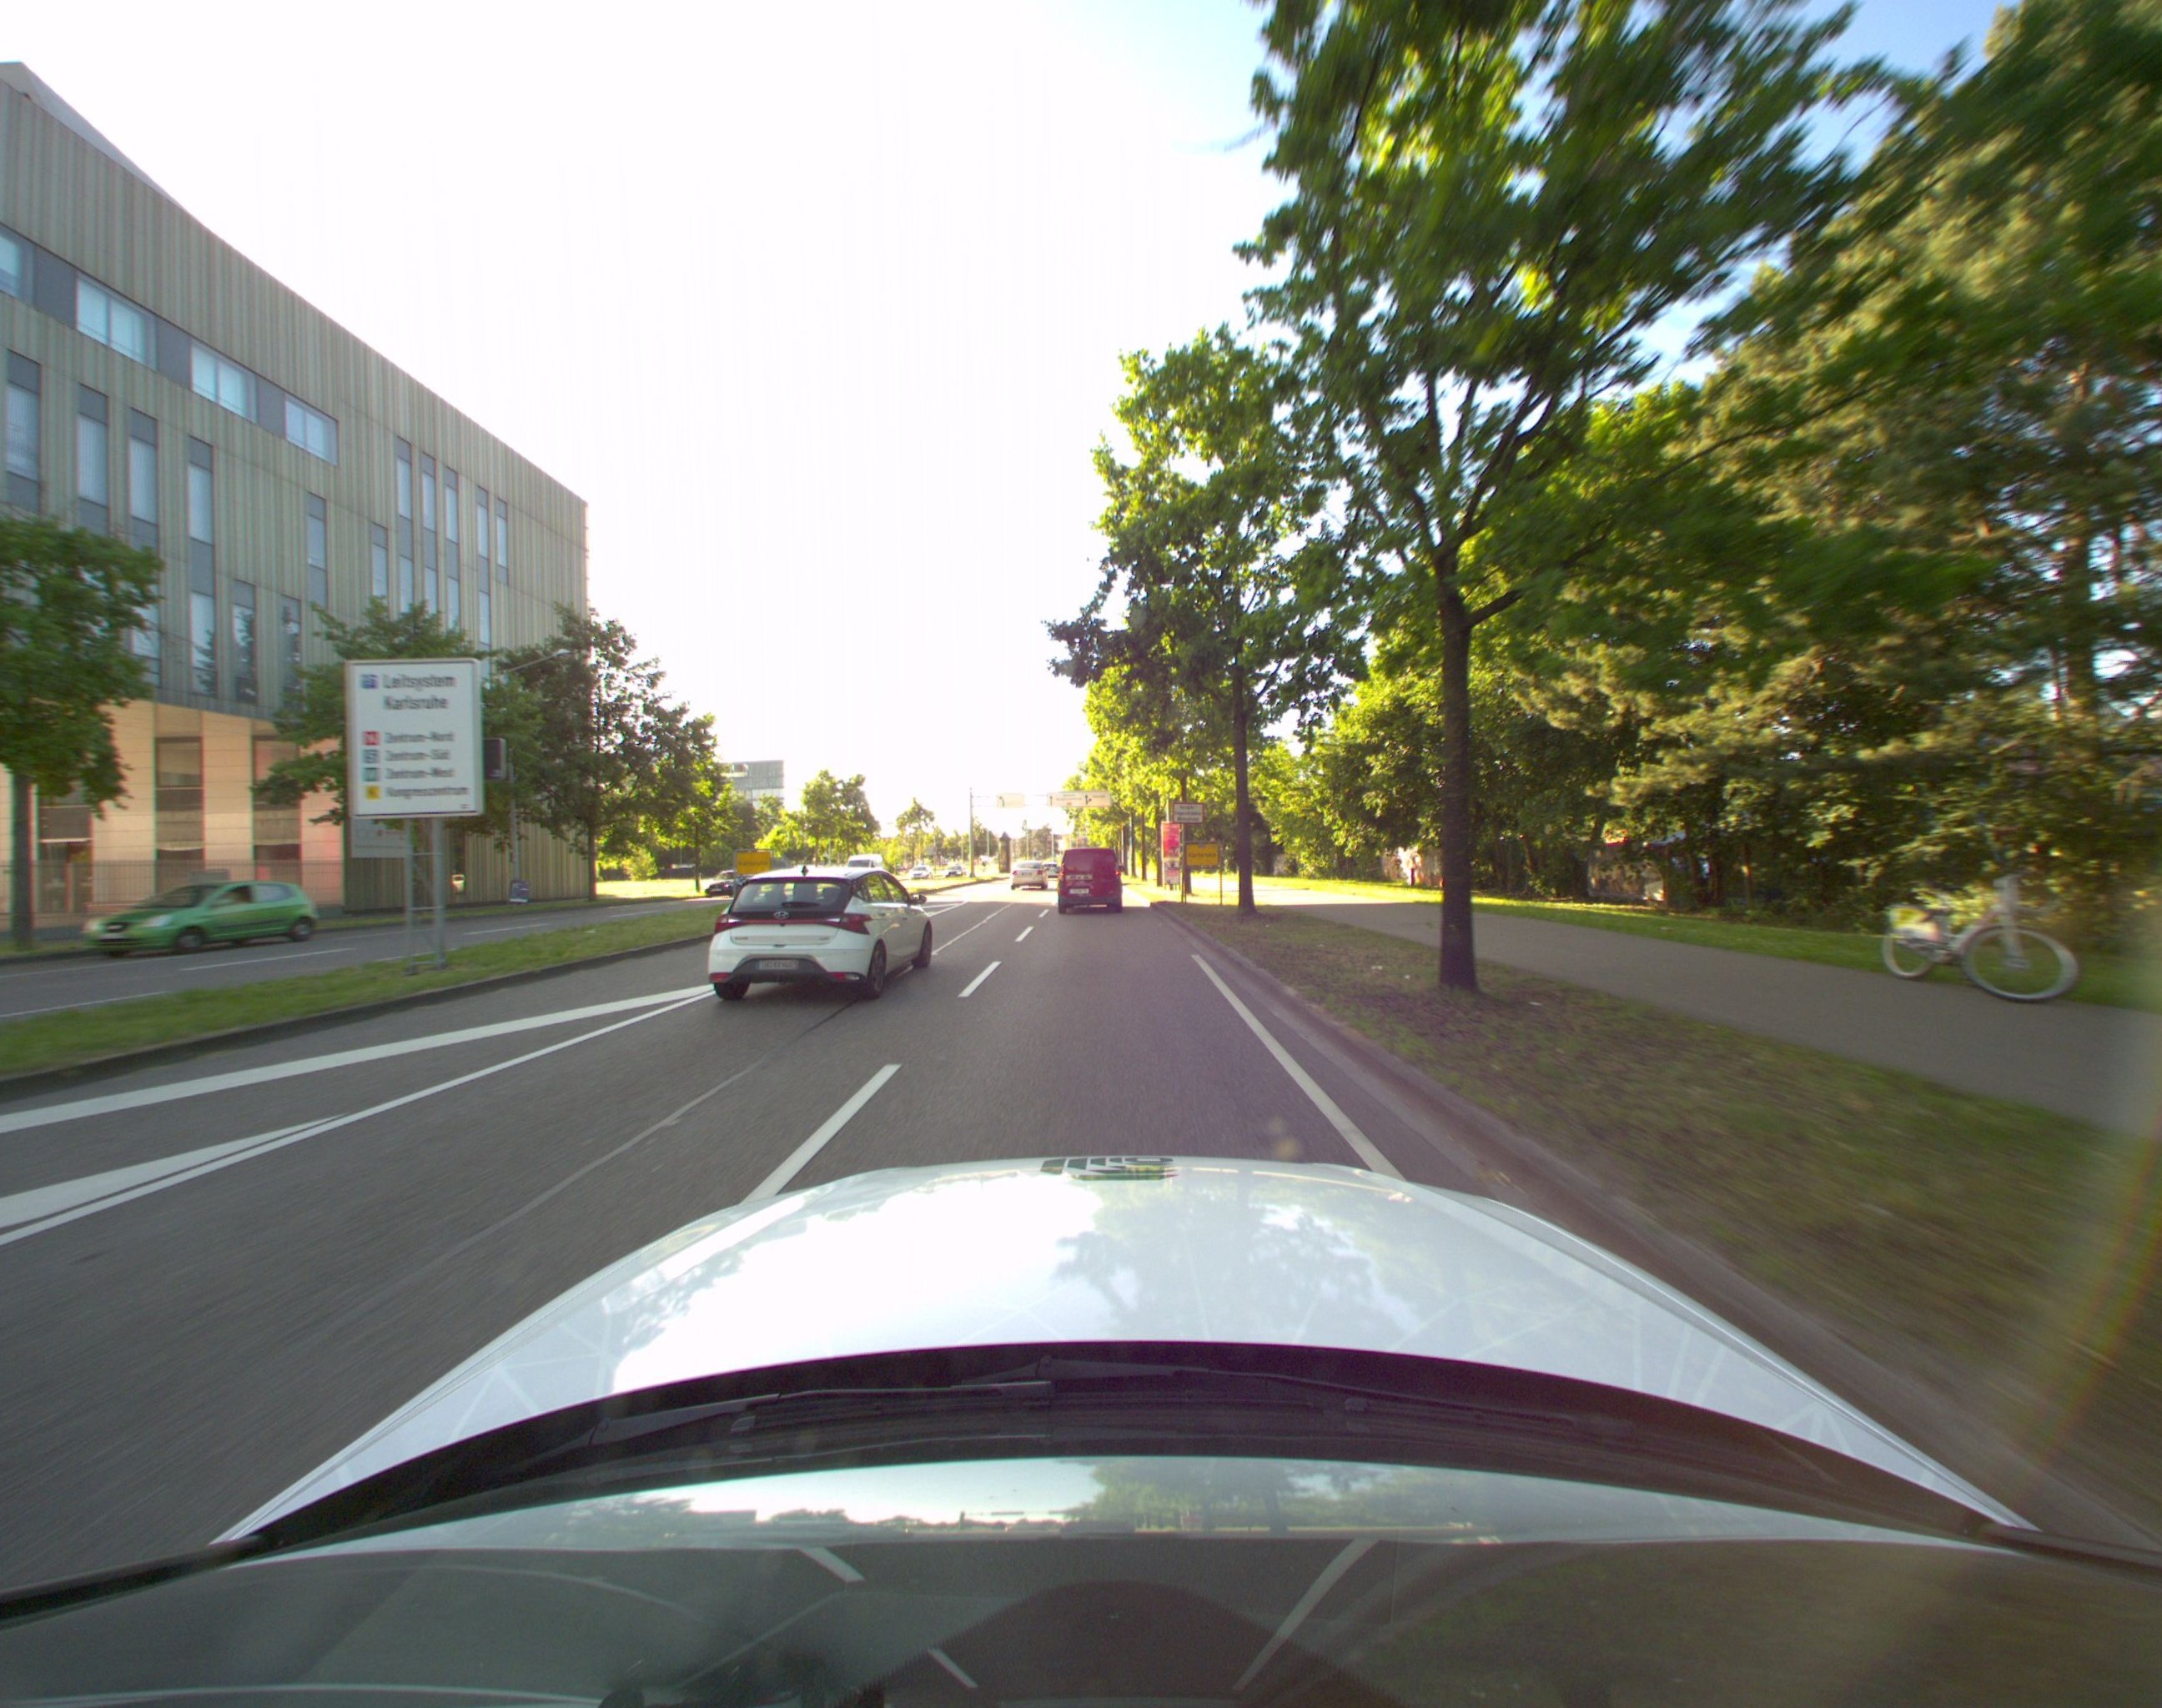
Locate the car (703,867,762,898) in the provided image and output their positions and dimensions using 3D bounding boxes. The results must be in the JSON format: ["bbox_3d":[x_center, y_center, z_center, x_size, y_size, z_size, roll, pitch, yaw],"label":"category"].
[{"bbox_3d":[-19.086,1.526,44.811,1.546,1.508,4.024,-1,0,-1],"label":"car"}]

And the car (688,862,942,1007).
[{"bbox_3d":[-3.026,0.827,10.230,1.772,1.409,4.075,-1,0,1],"label":"car"}]

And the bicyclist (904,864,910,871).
[{"bbox_3d":[-28.137,2.150,131.965,0.729,1.107,0.607,-2,-1,13],"label":"bicyclist"}]

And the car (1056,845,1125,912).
[{"bbox_3d":[0.247,0.650,23.448,1.800,1.759,4.005,0,0,0],"label":"car"}]

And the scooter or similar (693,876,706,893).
[{"bbox_3d":[-26.149,2.076,55.881,0.230,1.149,1.327,-1,-1,0],"label":"scooter or similar"}]

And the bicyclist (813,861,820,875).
[{"bbox_3d":[-27.233,1.473,83.816,0.481,1.395,0.844,-1,-1,-1],"label":"bicyclist"}]

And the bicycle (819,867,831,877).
[{"bbox_3d":[-26.239,1.845,83.512,0.568,1.003,2.095,-1,-1,-1],"label":"bicycle"}]

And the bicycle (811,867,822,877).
[{"bbox_3d":[-27.219,1.893,83.761,0.485,1.003,2.095,-1,-1,-1],"label":"bicycle"}]

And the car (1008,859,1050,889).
[{"bbox_3d":[-2.636,0.998,42.004,1.835,1.456,4.162,0,0,0],"label":"car"}]

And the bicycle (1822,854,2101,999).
[{"bbox_3d":[7.692,0.575,7.258,0.769,1.131,1.712,-1,0,8],"label":"bicycle"}]

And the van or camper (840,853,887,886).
[{"bbox_3d":[-17.000,1.163,64.078,1.987,2.368,5.992,-3,0,0],"label":"van or camper"}]

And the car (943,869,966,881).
[{"bbox_3d":[-13.175,2.158,84.690,1.823,1.111,4.171,-2,0,-2],"label":"car"}]

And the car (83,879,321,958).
[{"bbox_3d":[-18.936,1.322,17.783,1.442,1.436,3.458,-1,0,-1],"label":"car"}]

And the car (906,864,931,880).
[{"bbox_3d":[-16.178,1.793,81.297,1.684,1.476,4.046,-1,0,-2],"label":"car"}]

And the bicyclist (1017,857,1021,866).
[{"bbox_3d":[-9.917,1.245,130.960,0.602,1.468,0.517,-1,-1,-1],"label":"bicyclist"}]

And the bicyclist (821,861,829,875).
[{"bbox_3d":[-26.248,1.426,83.604,0.560,1.392,0.747,-1,-1,-1],"label":"bicyclist"}]

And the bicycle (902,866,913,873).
[{"bbox_3d":[-28.142,2.534,131.962,1.715,1.107,0.606,-2,-1,12],"label":"bicycle"}]

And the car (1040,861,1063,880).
[{"bbox_3d":[-2.339,1.292,65.472,1.656,1.398,3.558,-1,0,0],"label":"car"}]

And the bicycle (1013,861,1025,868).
[{"bbox_3d":[-9.966,1.659,130.952,1.953,1.166,0.517,-1,-1,-2],"label":"bicycle"}]
